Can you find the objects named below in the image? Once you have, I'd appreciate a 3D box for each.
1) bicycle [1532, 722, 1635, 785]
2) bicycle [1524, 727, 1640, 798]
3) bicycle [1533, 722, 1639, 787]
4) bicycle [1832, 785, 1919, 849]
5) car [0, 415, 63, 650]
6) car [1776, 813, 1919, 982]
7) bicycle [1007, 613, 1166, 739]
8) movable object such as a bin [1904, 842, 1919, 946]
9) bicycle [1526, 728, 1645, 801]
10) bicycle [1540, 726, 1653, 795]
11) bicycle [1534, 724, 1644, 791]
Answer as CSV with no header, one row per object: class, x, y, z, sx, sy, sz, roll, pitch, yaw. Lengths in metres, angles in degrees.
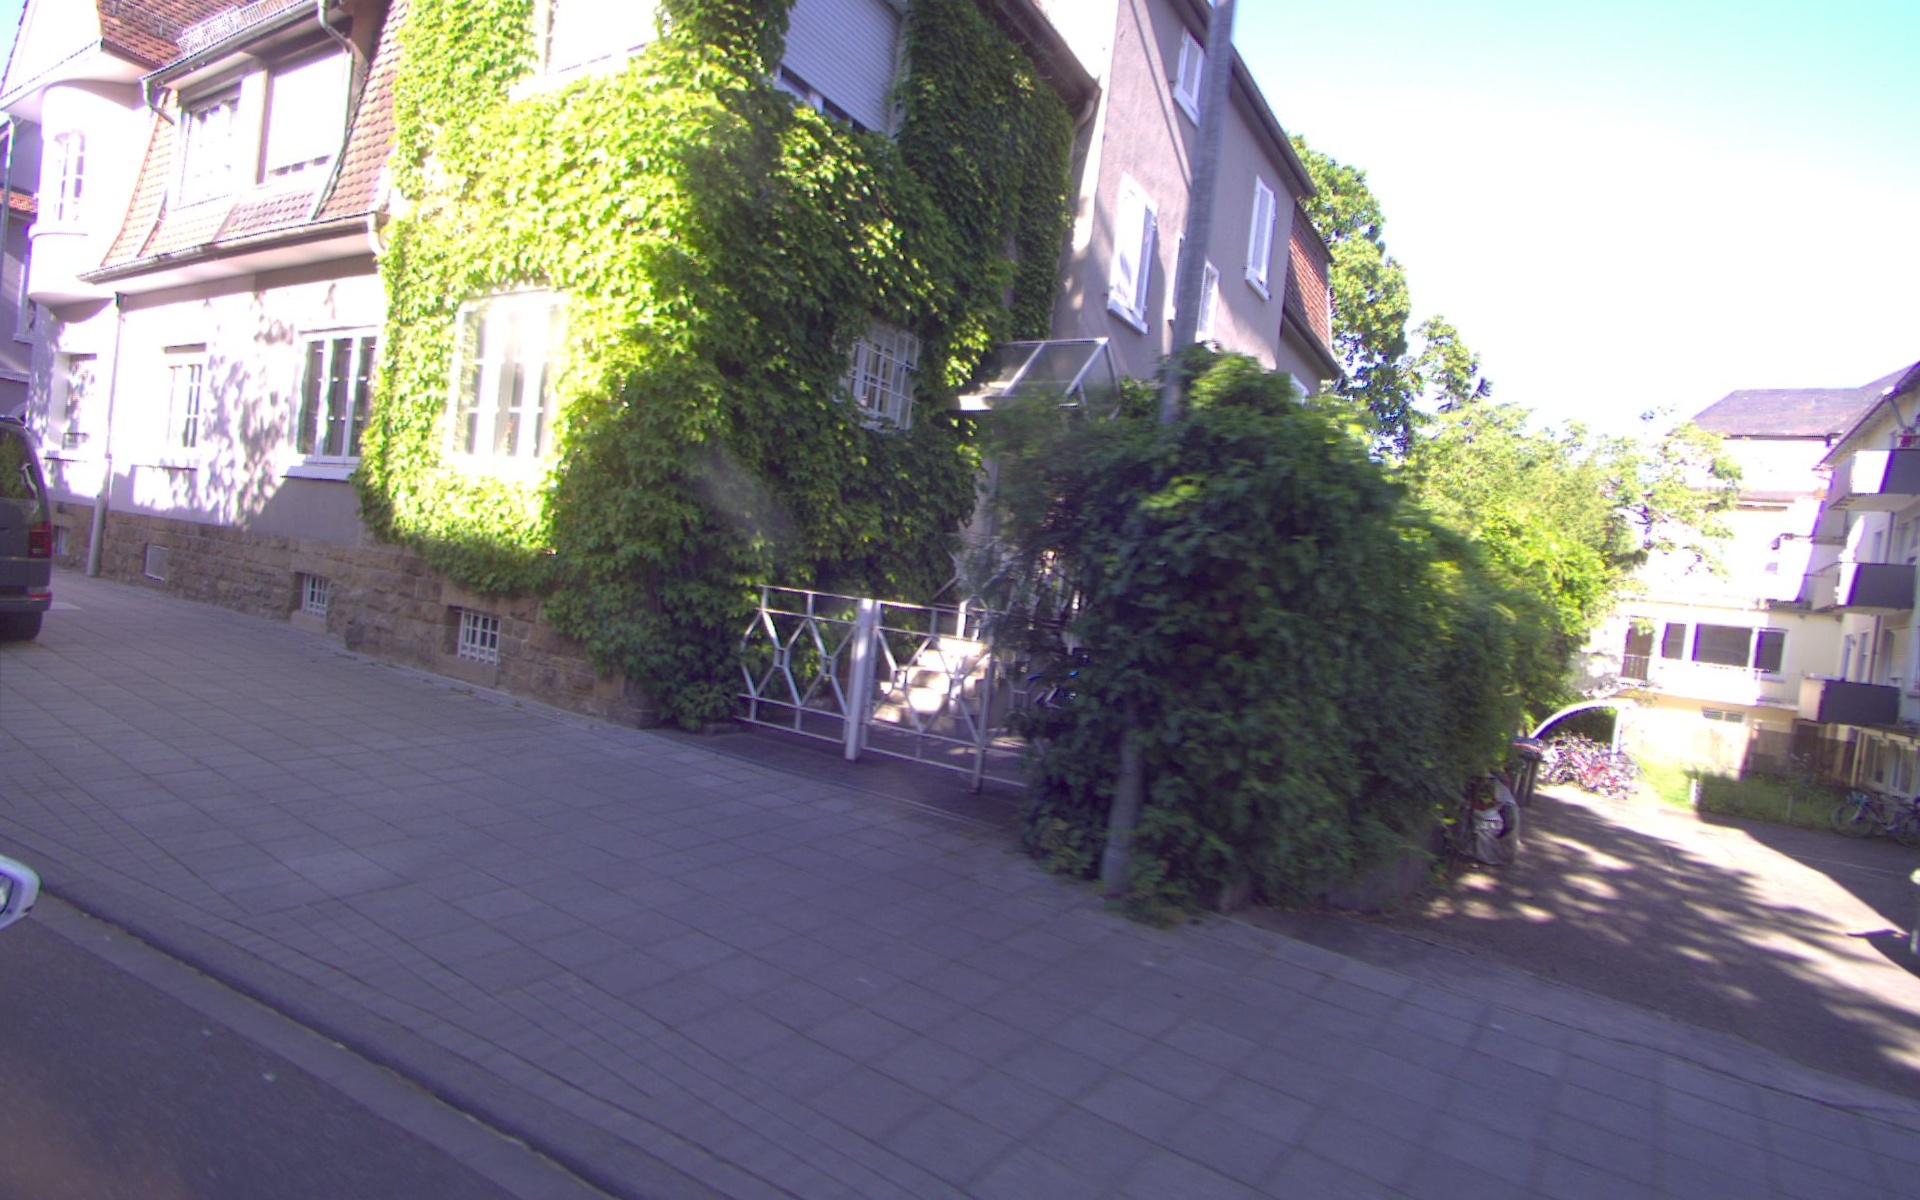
bicycle,16.105,3.943,26.036,2.094,1.210,0.499,8,0,24
bicycle,14.440,3.767,23.415,2.094,1.210,0.499,8,0,24
bicycle,15.778,3.878,25.406,2.094,1.210,0.499,8,0,24
bicycle,19.184,4.507,20.778,1.619,0.993,0.454,8,0,34
car,-10.177,-0.804,9.266,4.708,1.942,1.863,7,3,36
car,9.754,3.117,10.280,0.645,1.315,2.740,8,-1,6
bicycle,1.425,0.820,10.935,0.663,1.171,2.110,8,1,36
movable object such as a bin,11.342,3.425,11.383,0.660,1.147,0.658,8,0,25
bicycle,14.176,3.714,22.865,2.094,1.210,0.499,8,0,24
bicycle,15.186,3.820,24.063,2.094,1.210,0.499,8,0,24
bicycle,15.372,3.836,24.644,2.094,1.210,0.499,8,0,24
